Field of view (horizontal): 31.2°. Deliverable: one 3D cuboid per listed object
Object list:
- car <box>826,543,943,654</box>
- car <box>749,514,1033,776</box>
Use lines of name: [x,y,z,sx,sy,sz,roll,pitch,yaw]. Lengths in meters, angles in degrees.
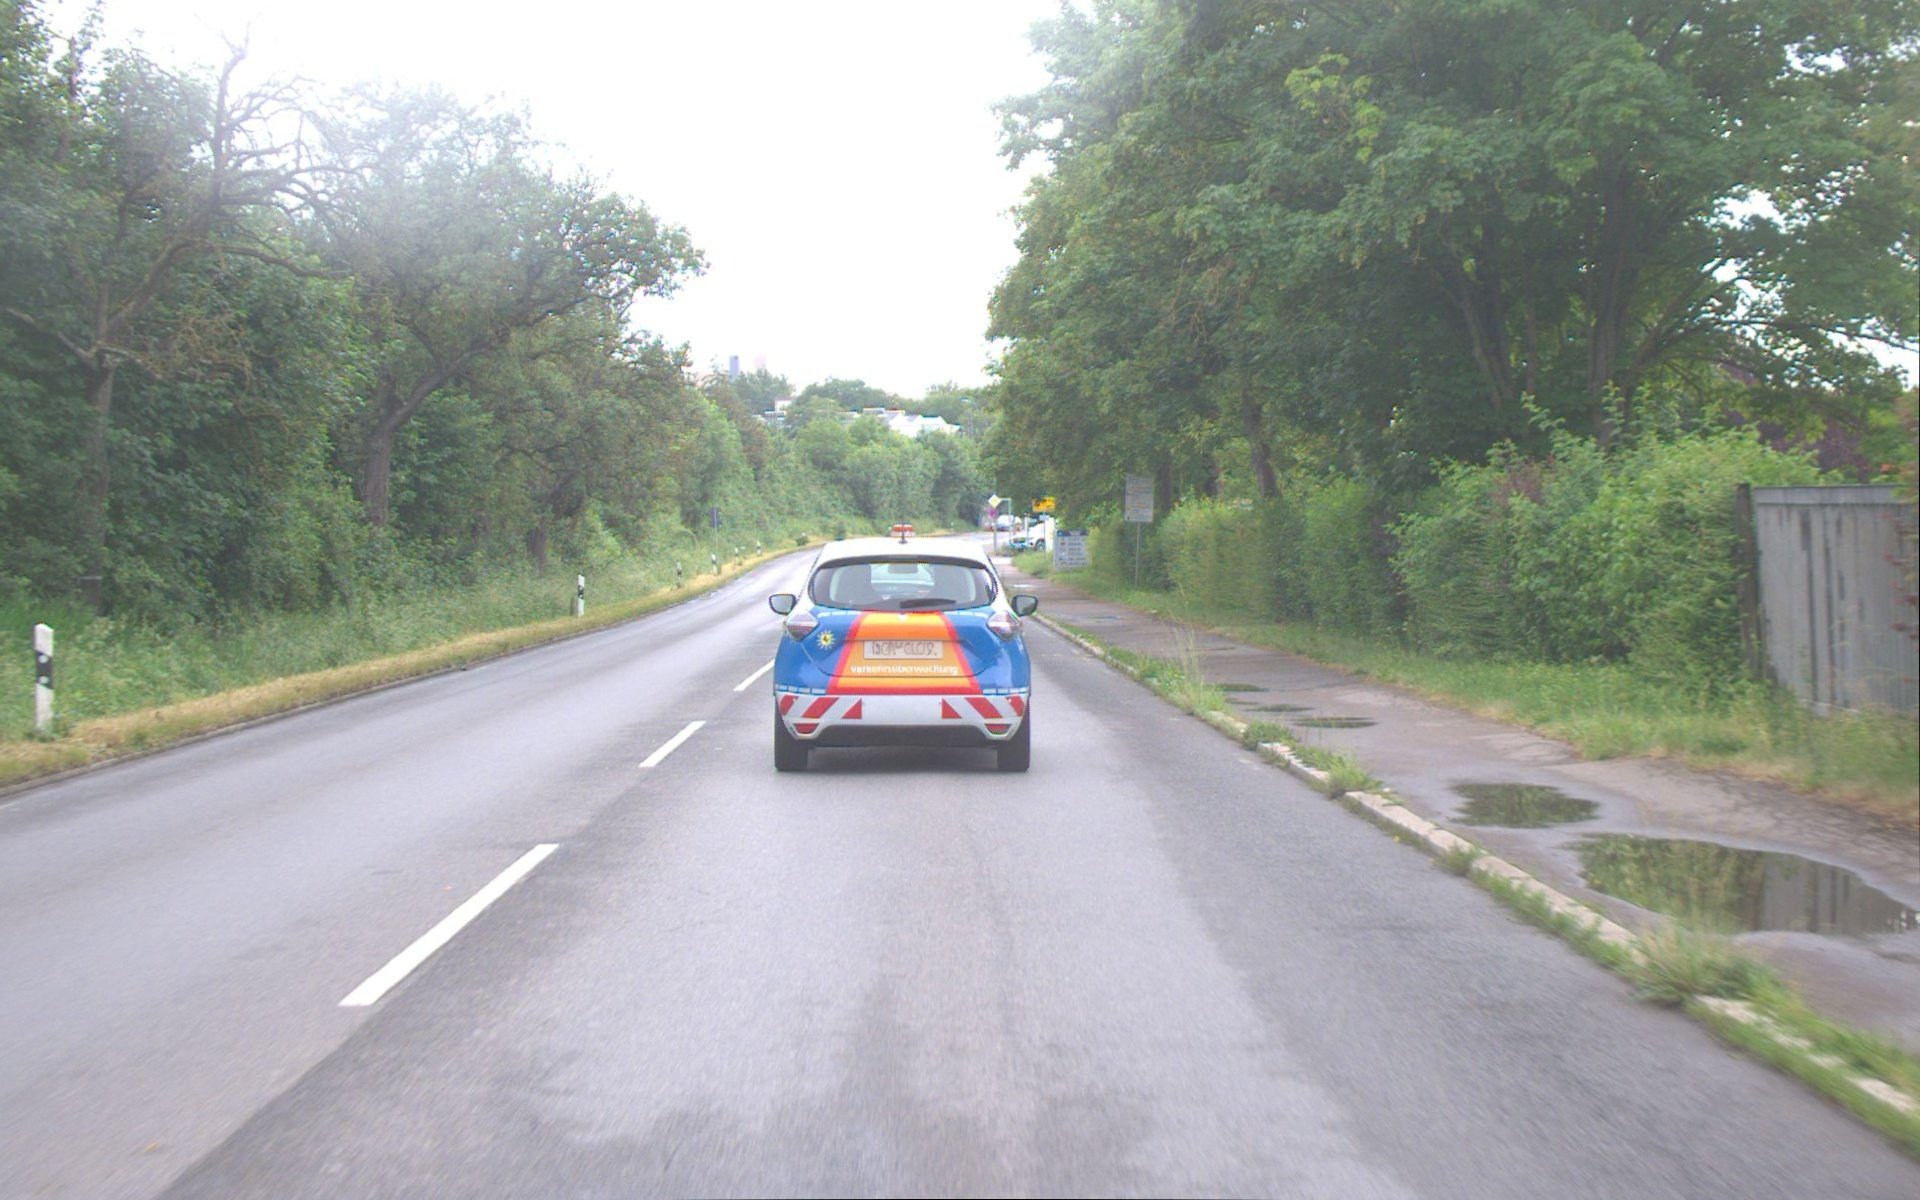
car: [-1.127,-0.049,52.090,1.694,1.590,3.856,1,1,-1]
car: [-0.477,0.262,24.015,1.806,1.662,3.856,1,1,-1]
